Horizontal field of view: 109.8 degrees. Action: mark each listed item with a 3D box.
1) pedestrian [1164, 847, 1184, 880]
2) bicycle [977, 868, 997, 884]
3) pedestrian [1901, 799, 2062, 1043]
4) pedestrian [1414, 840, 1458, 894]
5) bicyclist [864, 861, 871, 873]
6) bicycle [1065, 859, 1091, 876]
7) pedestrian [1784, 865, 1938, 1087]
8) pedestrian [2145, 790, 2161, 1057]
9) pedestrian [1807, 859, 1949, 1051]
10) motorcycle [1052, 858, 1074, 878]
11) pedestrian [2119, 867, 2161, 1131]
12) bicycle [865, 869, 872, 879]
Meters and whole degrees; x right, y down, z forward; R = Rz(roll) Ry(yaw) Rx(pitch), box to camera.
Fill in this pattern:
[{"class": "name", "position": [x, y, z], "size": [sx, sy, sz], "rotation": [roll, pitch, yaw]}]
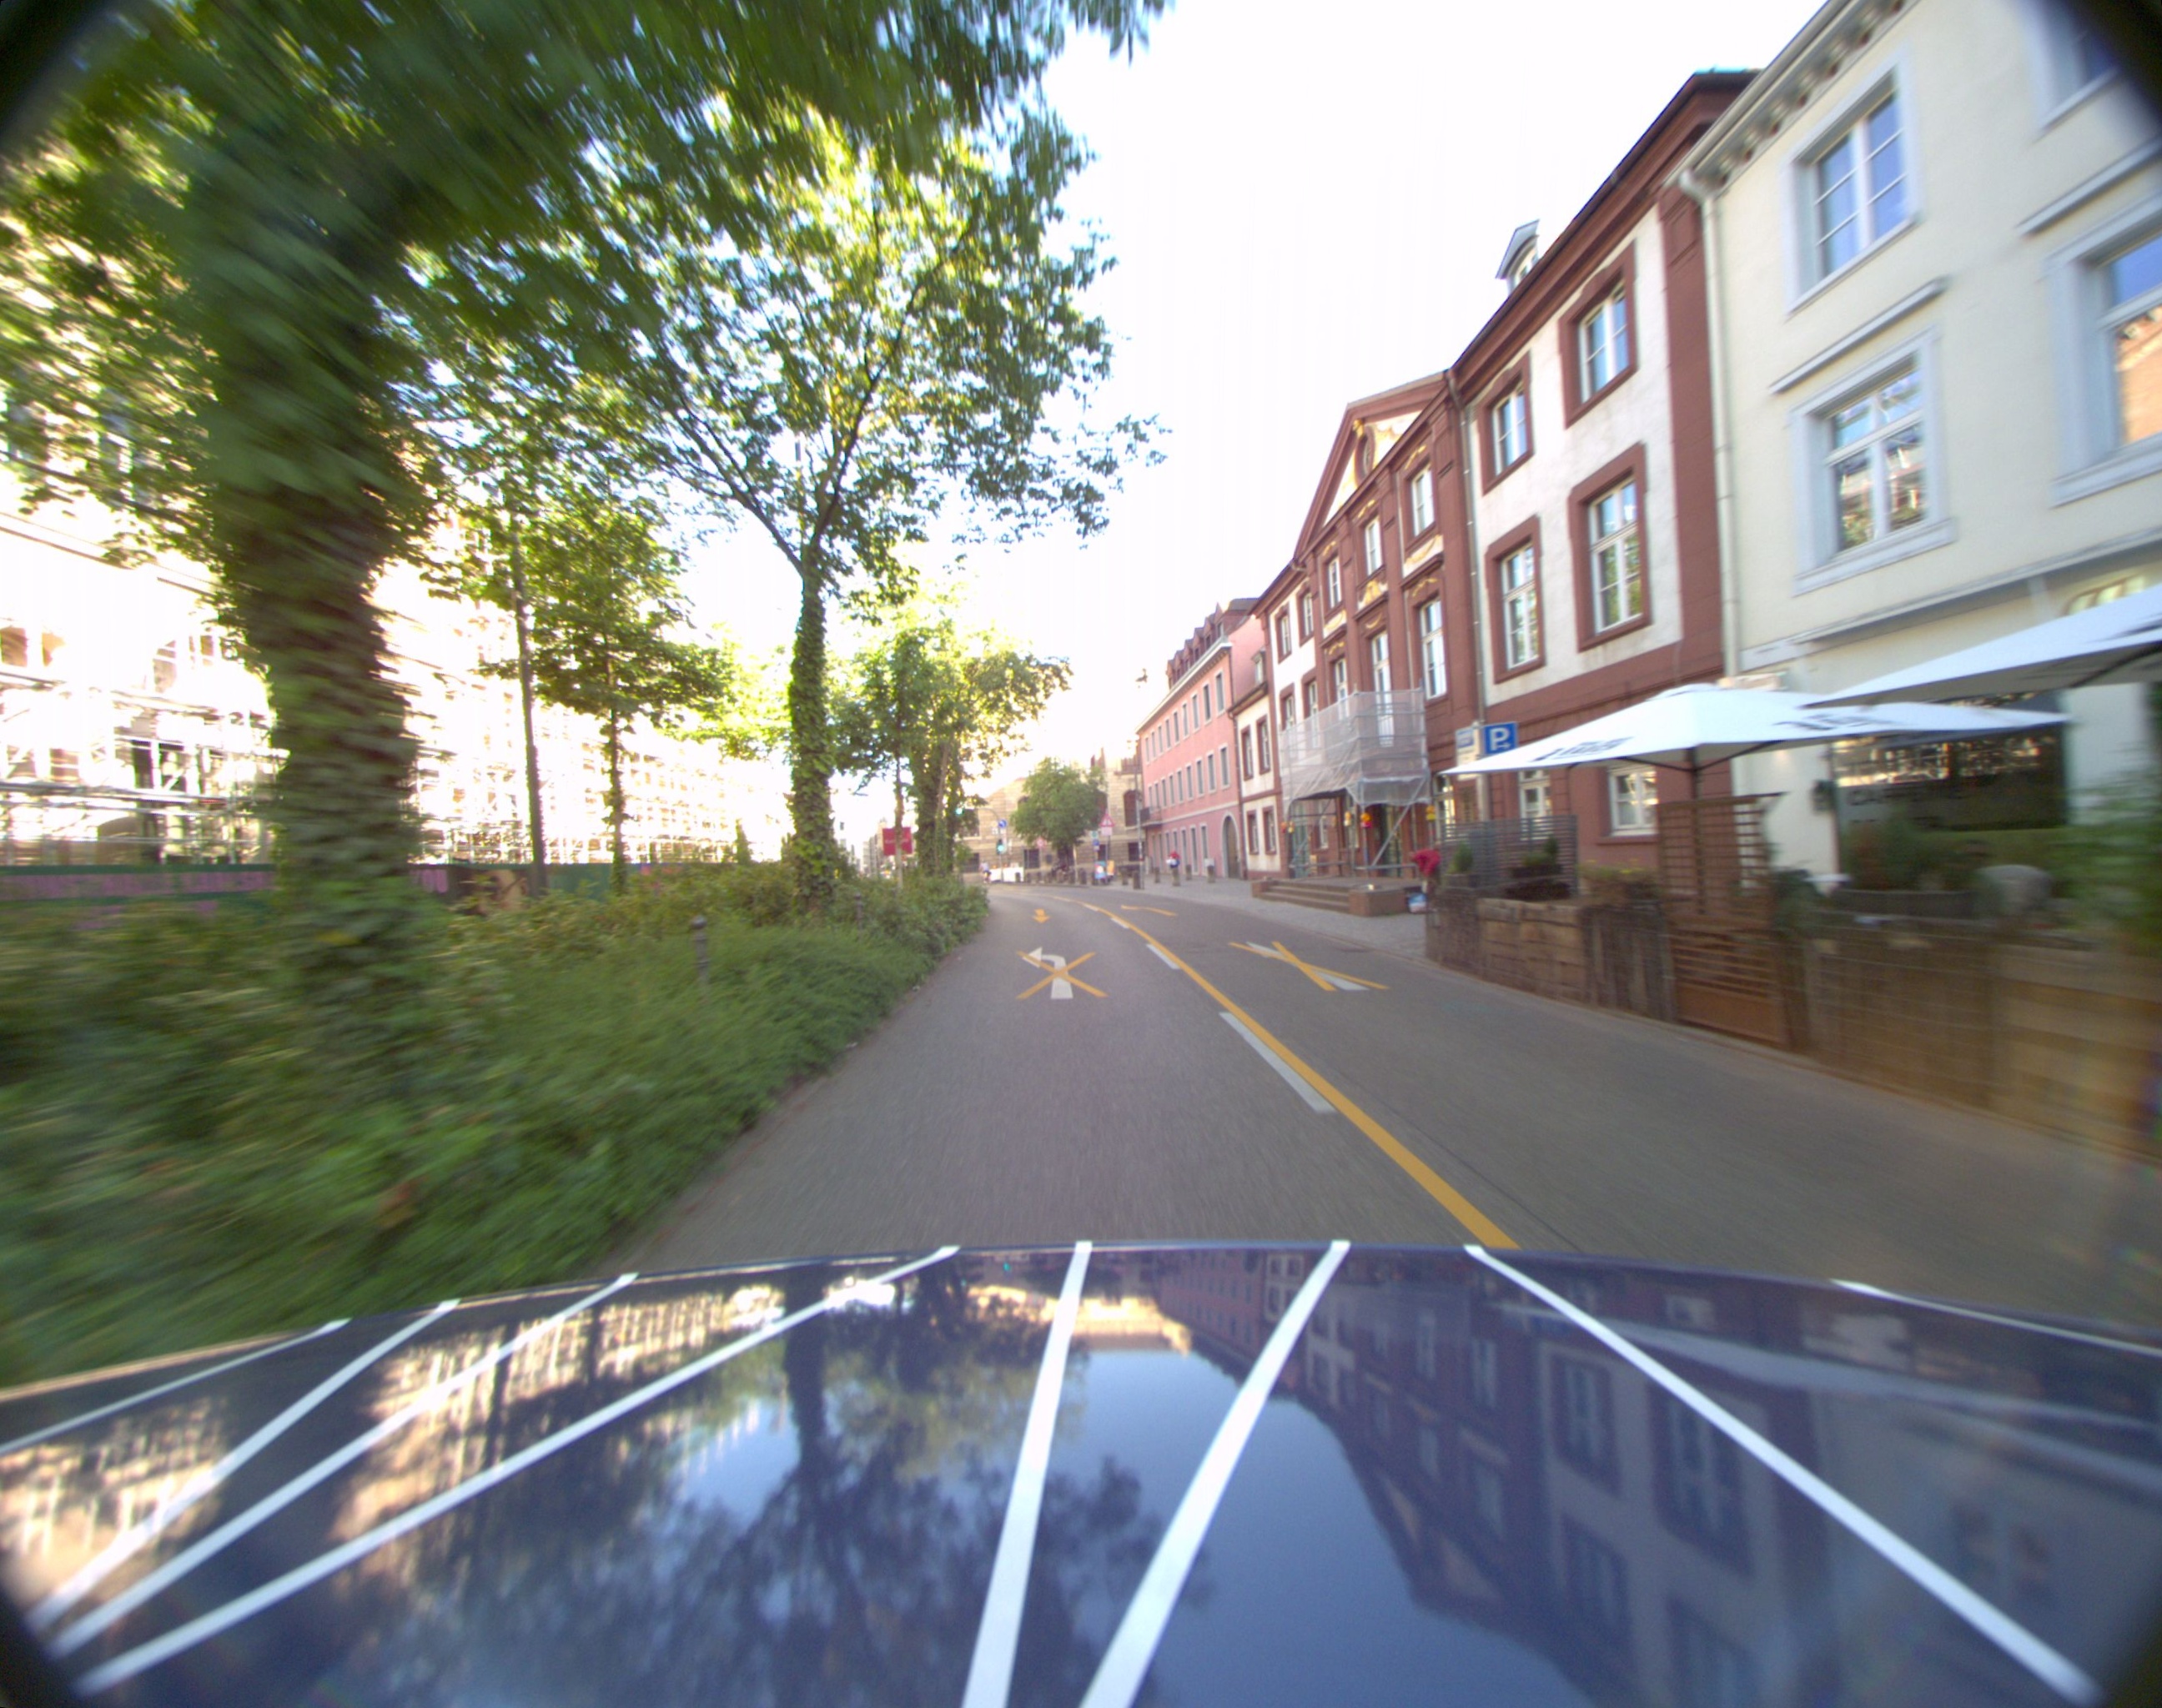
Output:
[{"class": "pedestrian", "position": [5.088, 0.519, 41.482], "size": [0.793, 1.679, 0.868], "rotation": [-5, 1, -5]}, {"class": "bicycle", "position": [-6.595, 1.523, 53.178], "size": [0.775, 1.056, 2.074], "rotation": [-4, 0, -25]}, {"class": "pedestrian", "position": [6.827, 0.496, 5.781], "size": [0.597, 1.764, 0.439], "rotation": [-4, 1, 7]}, {"class": "pedestrian", "position": [7.293, 0.257, 15.635], "size": [0.538, 1.047, 0.551], "rotation": [-5, 1, -6]}, {"class": "bicyclist", "position": [-22.410, 1.370, 79.807], "size": [0.538, 1.281, 0.551], "rotation": [-5, 1, -14]}, {"class": "bicycle", "position": [-0.217, 0.969, 54.552], "size": [0.681, 1.199, 2.009], "rotation": [-1, 0, 39]}, {"class": "pedestrian", "position": [5.345, 0.805, 5.231], "size": [0.471, 1.425, 0.502], "rotation": [-4, 1, 3]}, {"class": "pedestrian", "position": [7.275, 0.454, 4.721], "size": [0.438, 1.764, 0.598], "rotation": [-4, 1, 11]}, {"class": "pedestrian", "position": [6.140, 0.749, 5.872], "size": [0.525, 1.383, 0.488], "rotation": [-4, 1, -5]}, {"class": "motorcycle", "position": [-1.275, 1.007, 52.537], "size": [0.815, 1.309, 2.334], "rotation": [-4, 0, -18]}, {"class": "pedestrian", "position": [5.972, 0.763, 3.922], "size": [0.525, 1.383, 0.488], "rotation": [-4, 1, -5]}, {"class": "bicycle", "position": [-22.354, 2.077, 79.808], "size": [0.535, 1.060, 1.424], "rotation": [-5, 0, -13]}]
